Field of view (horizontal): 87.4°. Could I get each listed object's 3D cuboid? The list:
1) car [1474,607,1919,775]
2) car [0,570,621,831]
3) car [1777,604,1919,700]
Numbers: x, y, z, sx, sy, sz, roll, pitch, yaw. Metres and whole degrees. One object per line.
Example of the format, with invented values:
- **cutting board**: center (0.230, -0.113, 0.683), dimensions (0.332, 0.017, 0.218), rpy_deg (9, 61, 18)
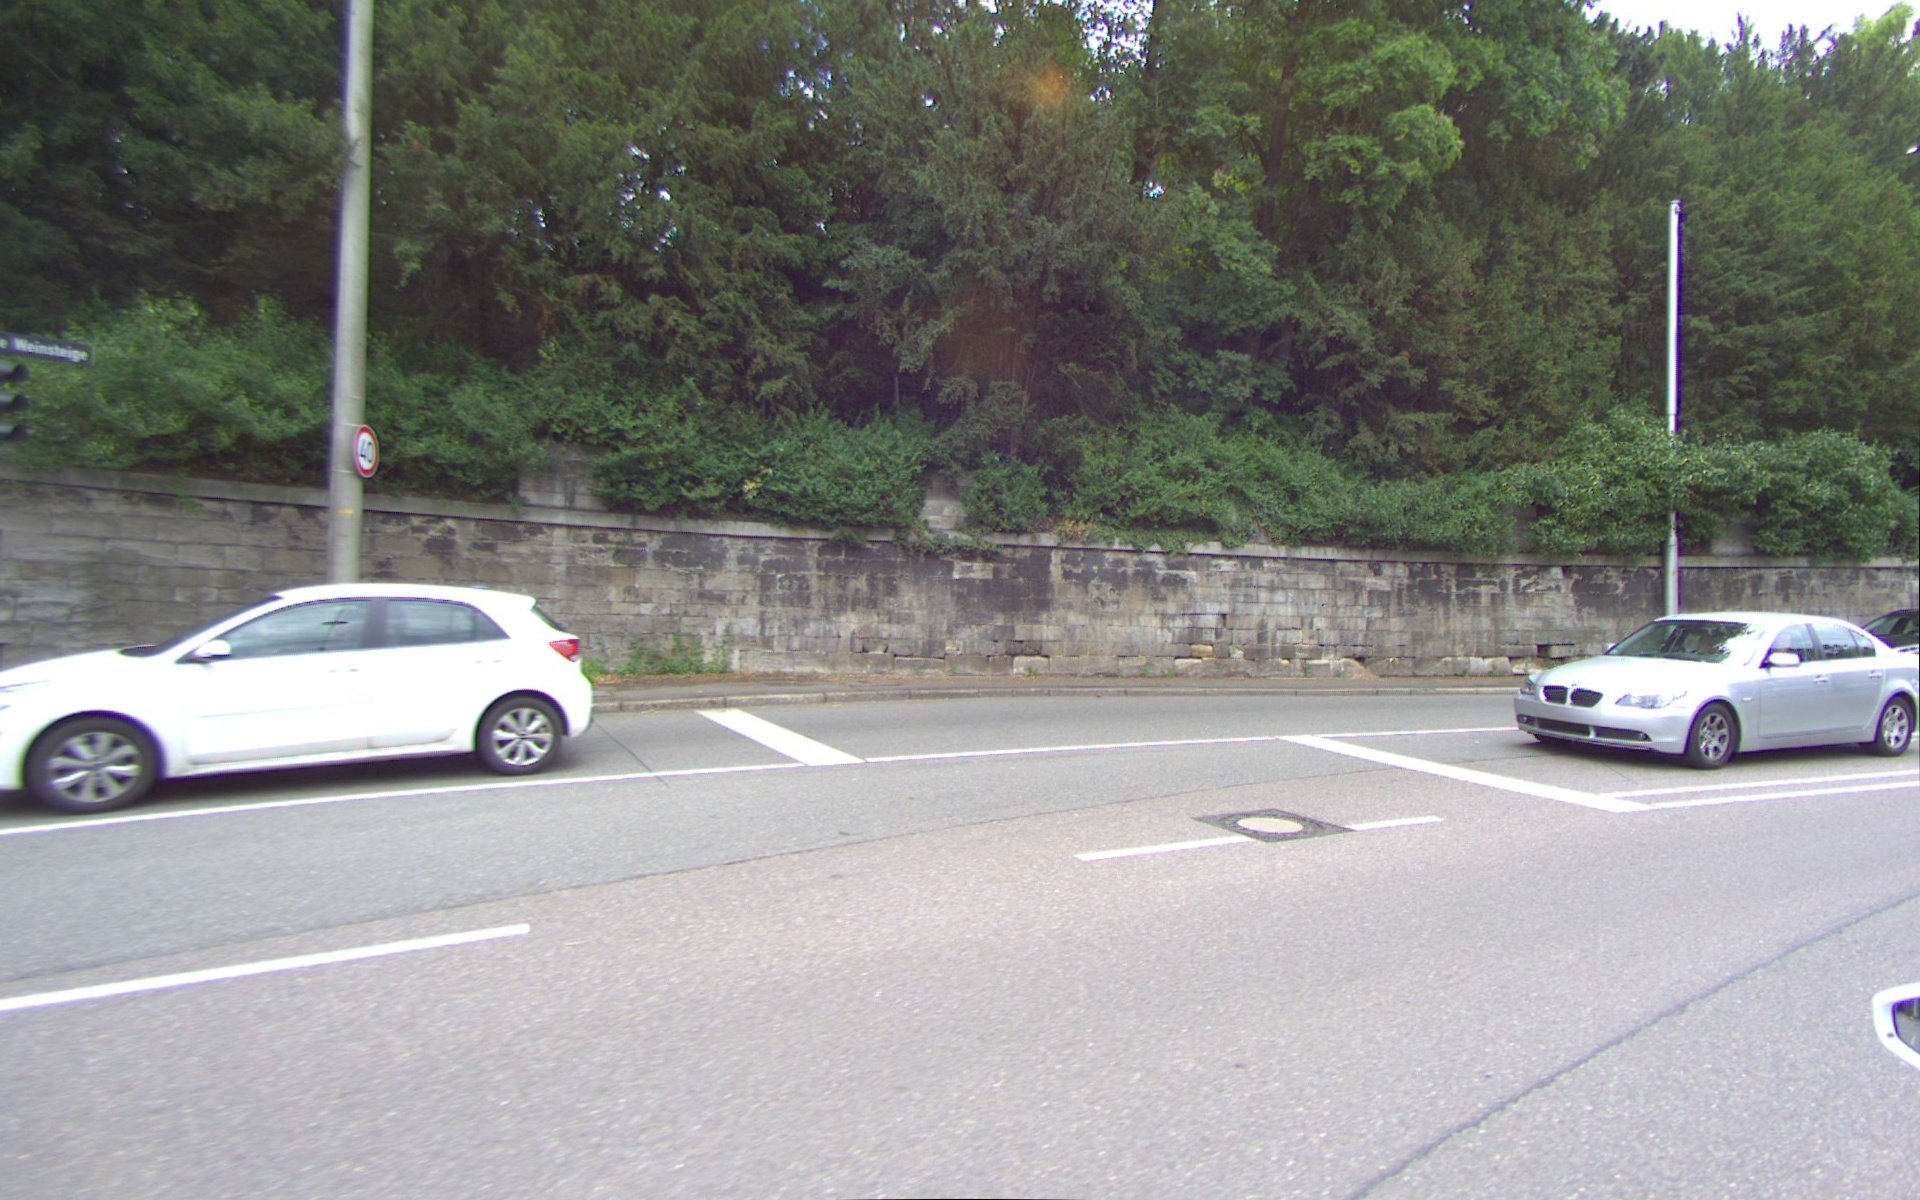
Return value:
- **car**: center (8.168, 0.843, 10.852), dimensions (4.805, 1.489, 1.990), rpy_deg (0, -1, -21)
- **car**: center (-4.901, 0.594, 7.717), dimensions (4.072, 1.577, 1.625), rpy_deg (0, 2, -35)
- **car**: center (16.549, 0.835, 17.301), dimensions (3.980, 1.471, 1.734), rpy_deg (0, 1, -13)
